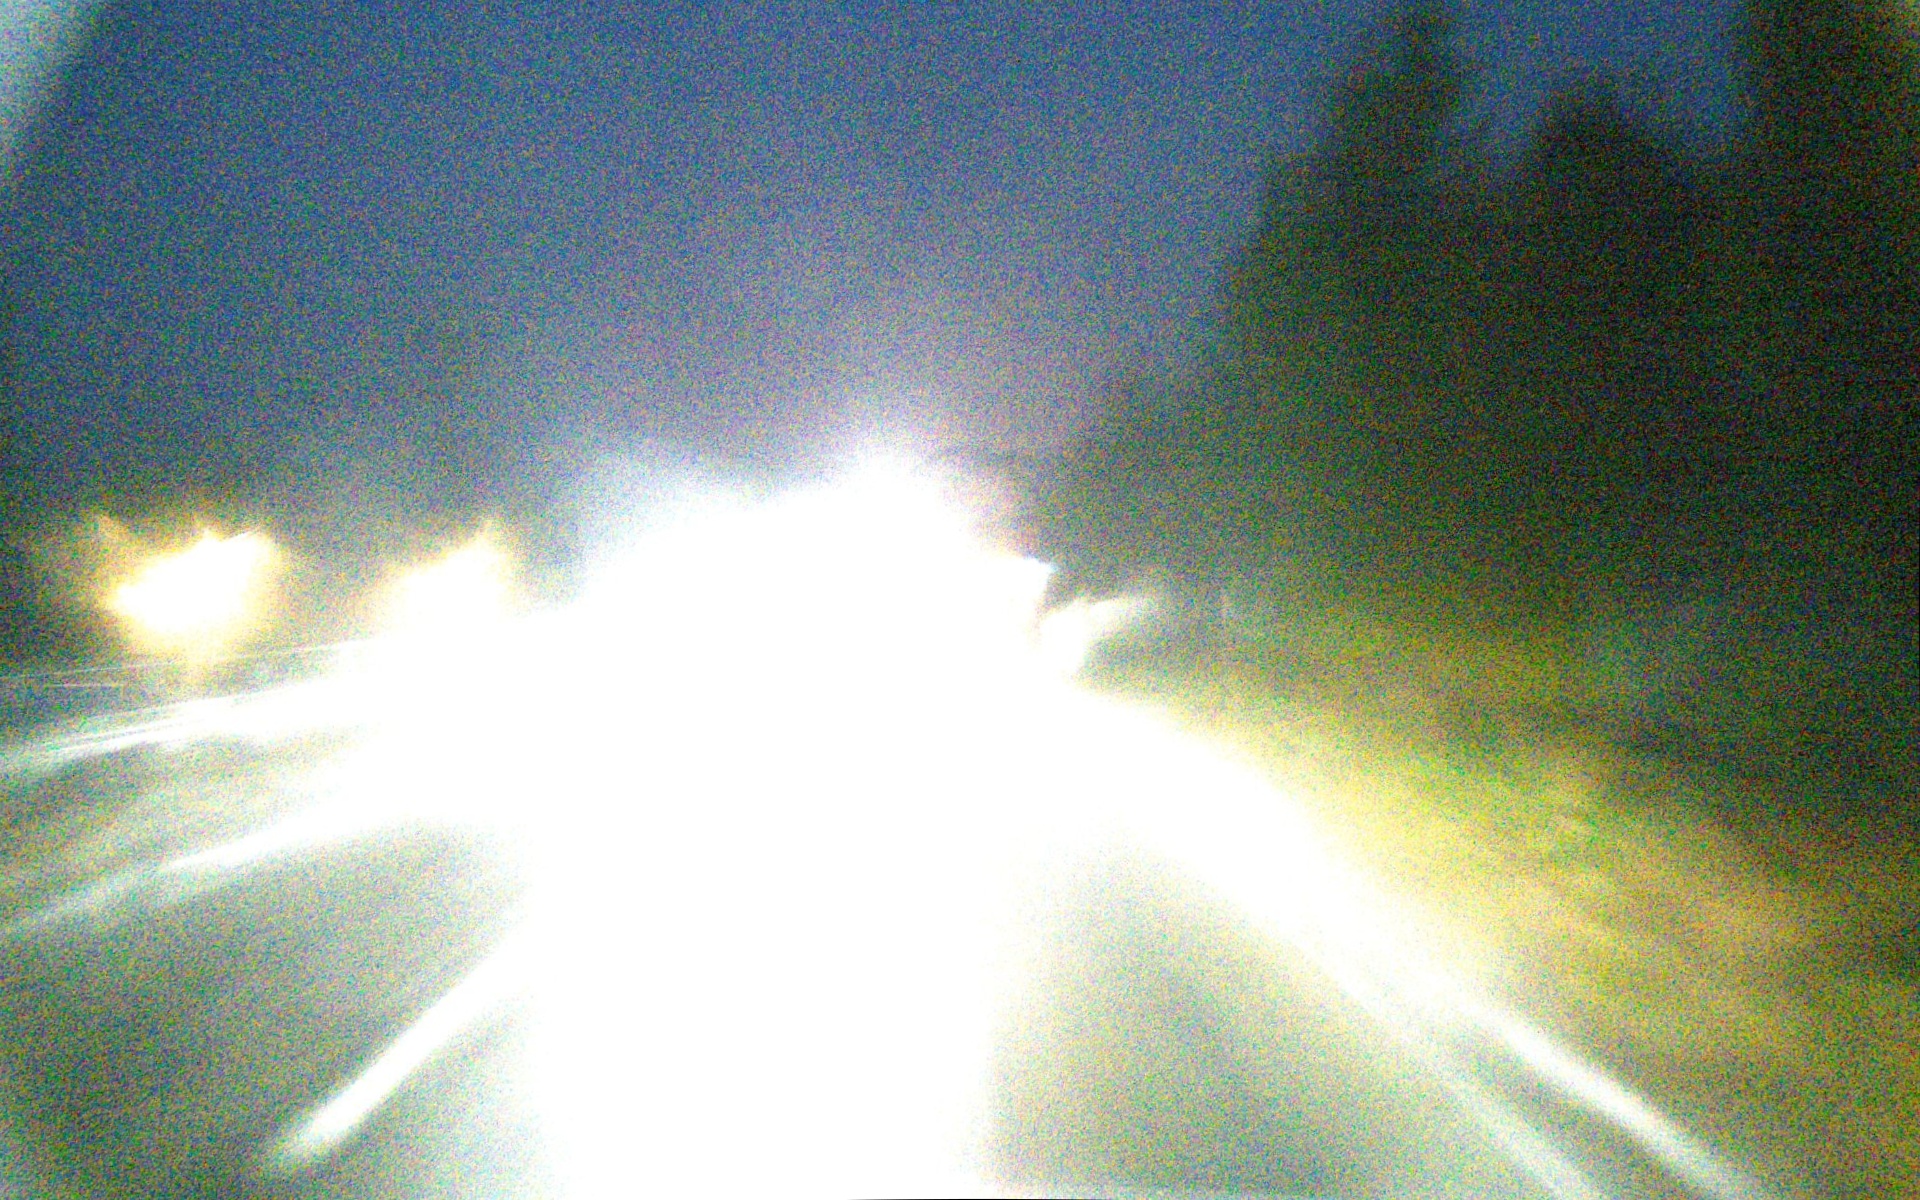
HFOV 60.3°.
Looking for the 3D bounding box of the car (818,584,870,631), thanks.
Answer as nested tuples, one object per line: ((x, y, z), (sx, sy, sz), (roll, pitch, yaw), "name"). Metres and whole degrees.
((-4.661, 0.262, 67.168), (1.817, 1.712, 4.324), (-2, 1, -1), "car")

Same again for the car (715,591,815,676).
((-3.998, 0.644, 34.369), (1.759, 1.564, 3.798), (-2, 1, -3), "car")

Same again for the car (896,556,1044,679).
((0.082, 0.295, 29.514), (2.408, 1.993, 4.909), (0, 0, -2), "car")
